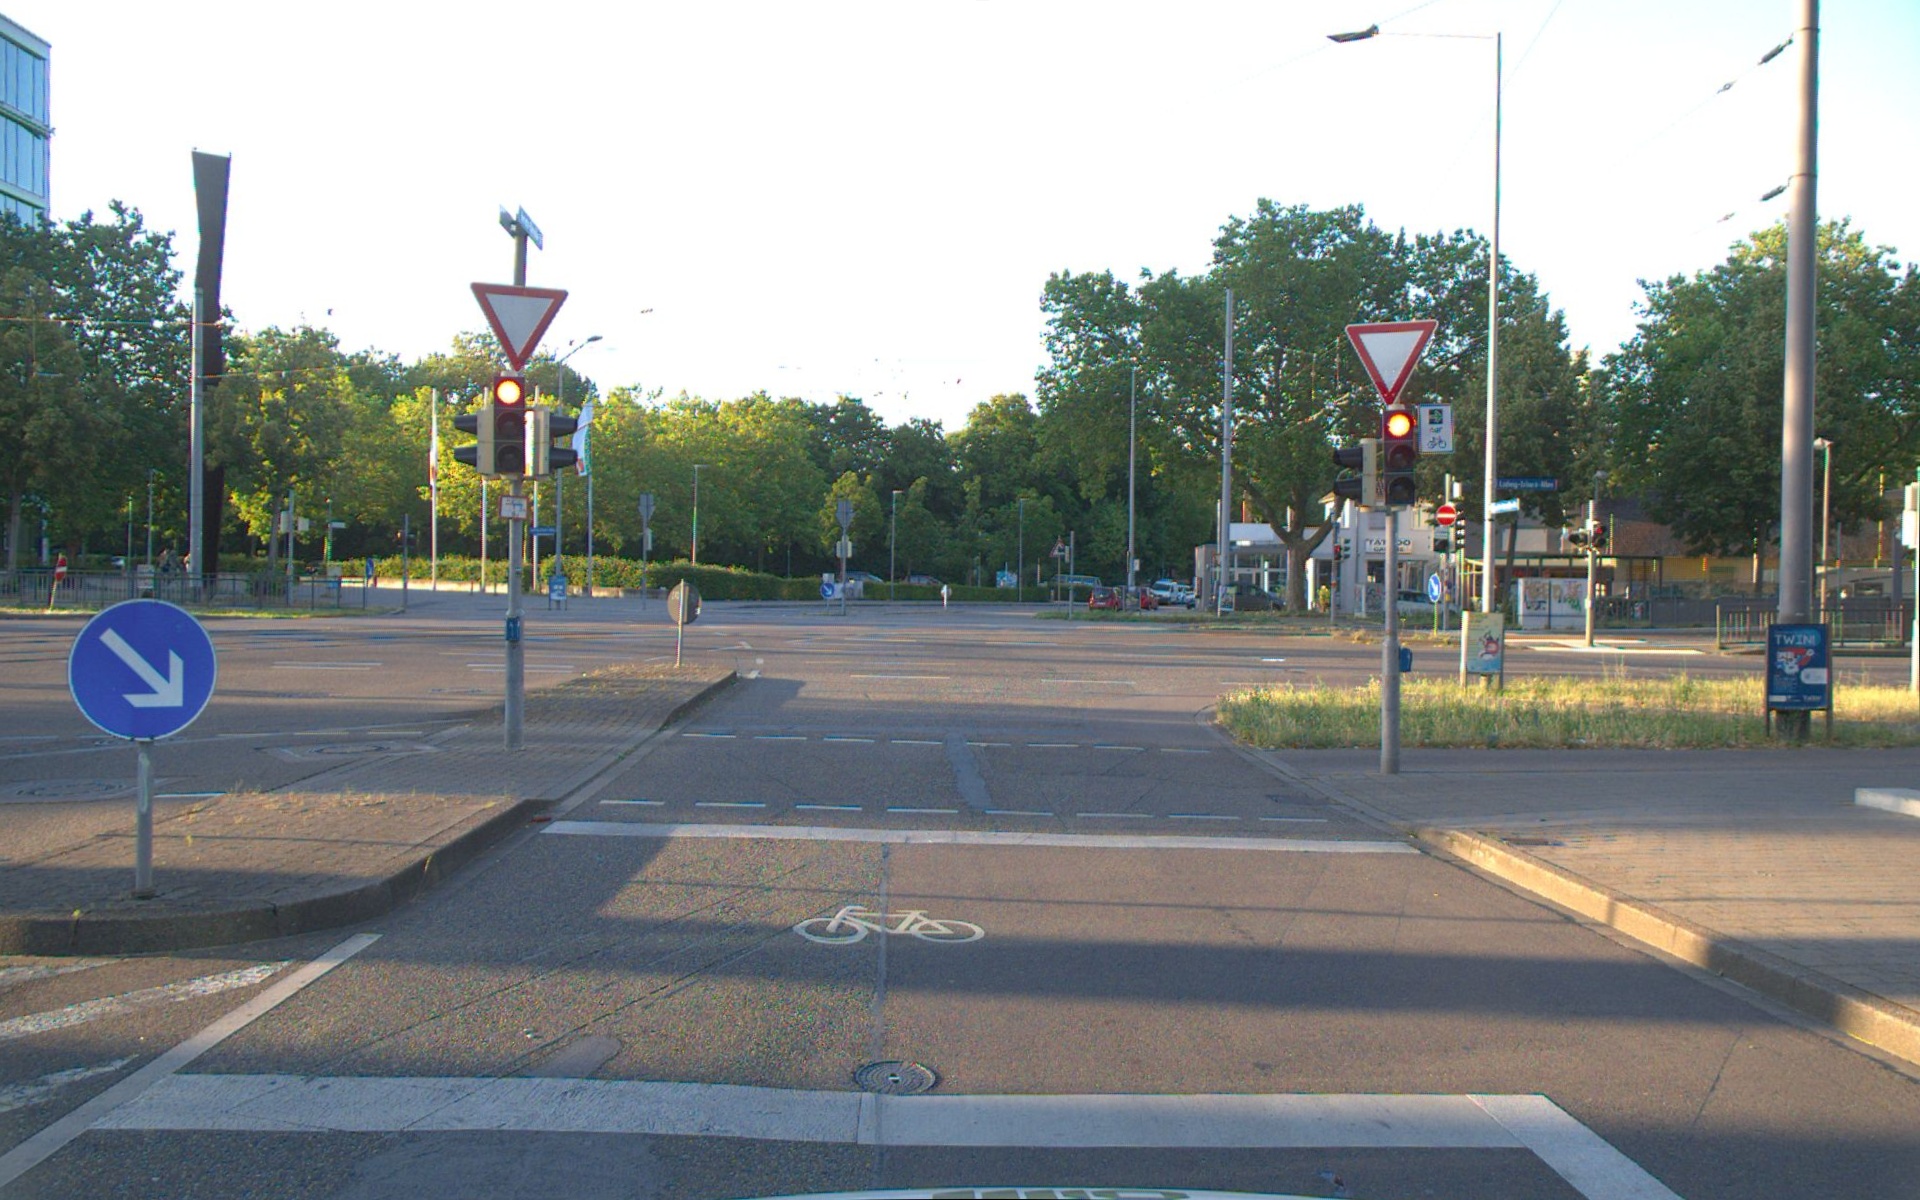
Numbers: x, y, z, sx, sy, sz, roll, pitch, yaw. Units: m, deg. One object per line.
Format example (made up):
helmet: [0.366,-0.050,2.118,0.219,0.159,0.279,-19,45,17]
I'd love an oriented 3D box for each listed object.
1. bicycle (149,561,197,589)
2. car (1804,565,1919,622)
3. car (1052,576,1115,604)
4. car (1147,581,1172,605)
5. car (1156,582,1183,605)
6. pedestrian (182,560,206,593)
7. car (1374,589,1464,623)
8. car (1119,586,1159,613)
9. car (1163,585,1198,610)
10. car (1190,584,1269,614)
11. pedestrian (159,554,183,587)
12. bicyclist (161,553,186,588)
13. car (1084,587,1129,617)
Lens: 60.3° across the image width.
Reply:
bicycle: [-39.664,-1.263,83.344,2.630,1.364,0.731,1,1,28]
car: [43.668,-0.326,79.052,5.476,2.596,2.231,1,0,7]
car: [9.437,-0.742,126.382,4.675,2.041,2.000,1,-1,1]
car: [15.924,-0.513,131.795,1.823,1.825,4.003,1,0,10]
car: [17.331,-0.509,136.711,1.823,1.825,4.003,1,0,12]
pedestrian: [-41.945,-1.292,90.565,0.845,1.774,0.828,1,0,33]
car: [20.203,0.260,72.877,3.659,1.465,1.665,1,-1,9]
car: [11.256,-0.018,103.899,1.951,1.691,4.003,1,0,14]
car: [15.487,-0.189,116.192,1.951,1.691,4.003,1,0,14]
car: [14.597,-0.059,89.747,4.129,1.579,2.001,1,-1,7]
pedestrian: [-42.560,-1.578,89.221,0.842,1.774,0.830,1,0,18]
bicyclist: [-39.613,-1.484,83.313,0.900,1.739,0.751,1,0,32]
car: [8.561,0.116,96.168,1.951,1.691,4.003,1,0,14]
